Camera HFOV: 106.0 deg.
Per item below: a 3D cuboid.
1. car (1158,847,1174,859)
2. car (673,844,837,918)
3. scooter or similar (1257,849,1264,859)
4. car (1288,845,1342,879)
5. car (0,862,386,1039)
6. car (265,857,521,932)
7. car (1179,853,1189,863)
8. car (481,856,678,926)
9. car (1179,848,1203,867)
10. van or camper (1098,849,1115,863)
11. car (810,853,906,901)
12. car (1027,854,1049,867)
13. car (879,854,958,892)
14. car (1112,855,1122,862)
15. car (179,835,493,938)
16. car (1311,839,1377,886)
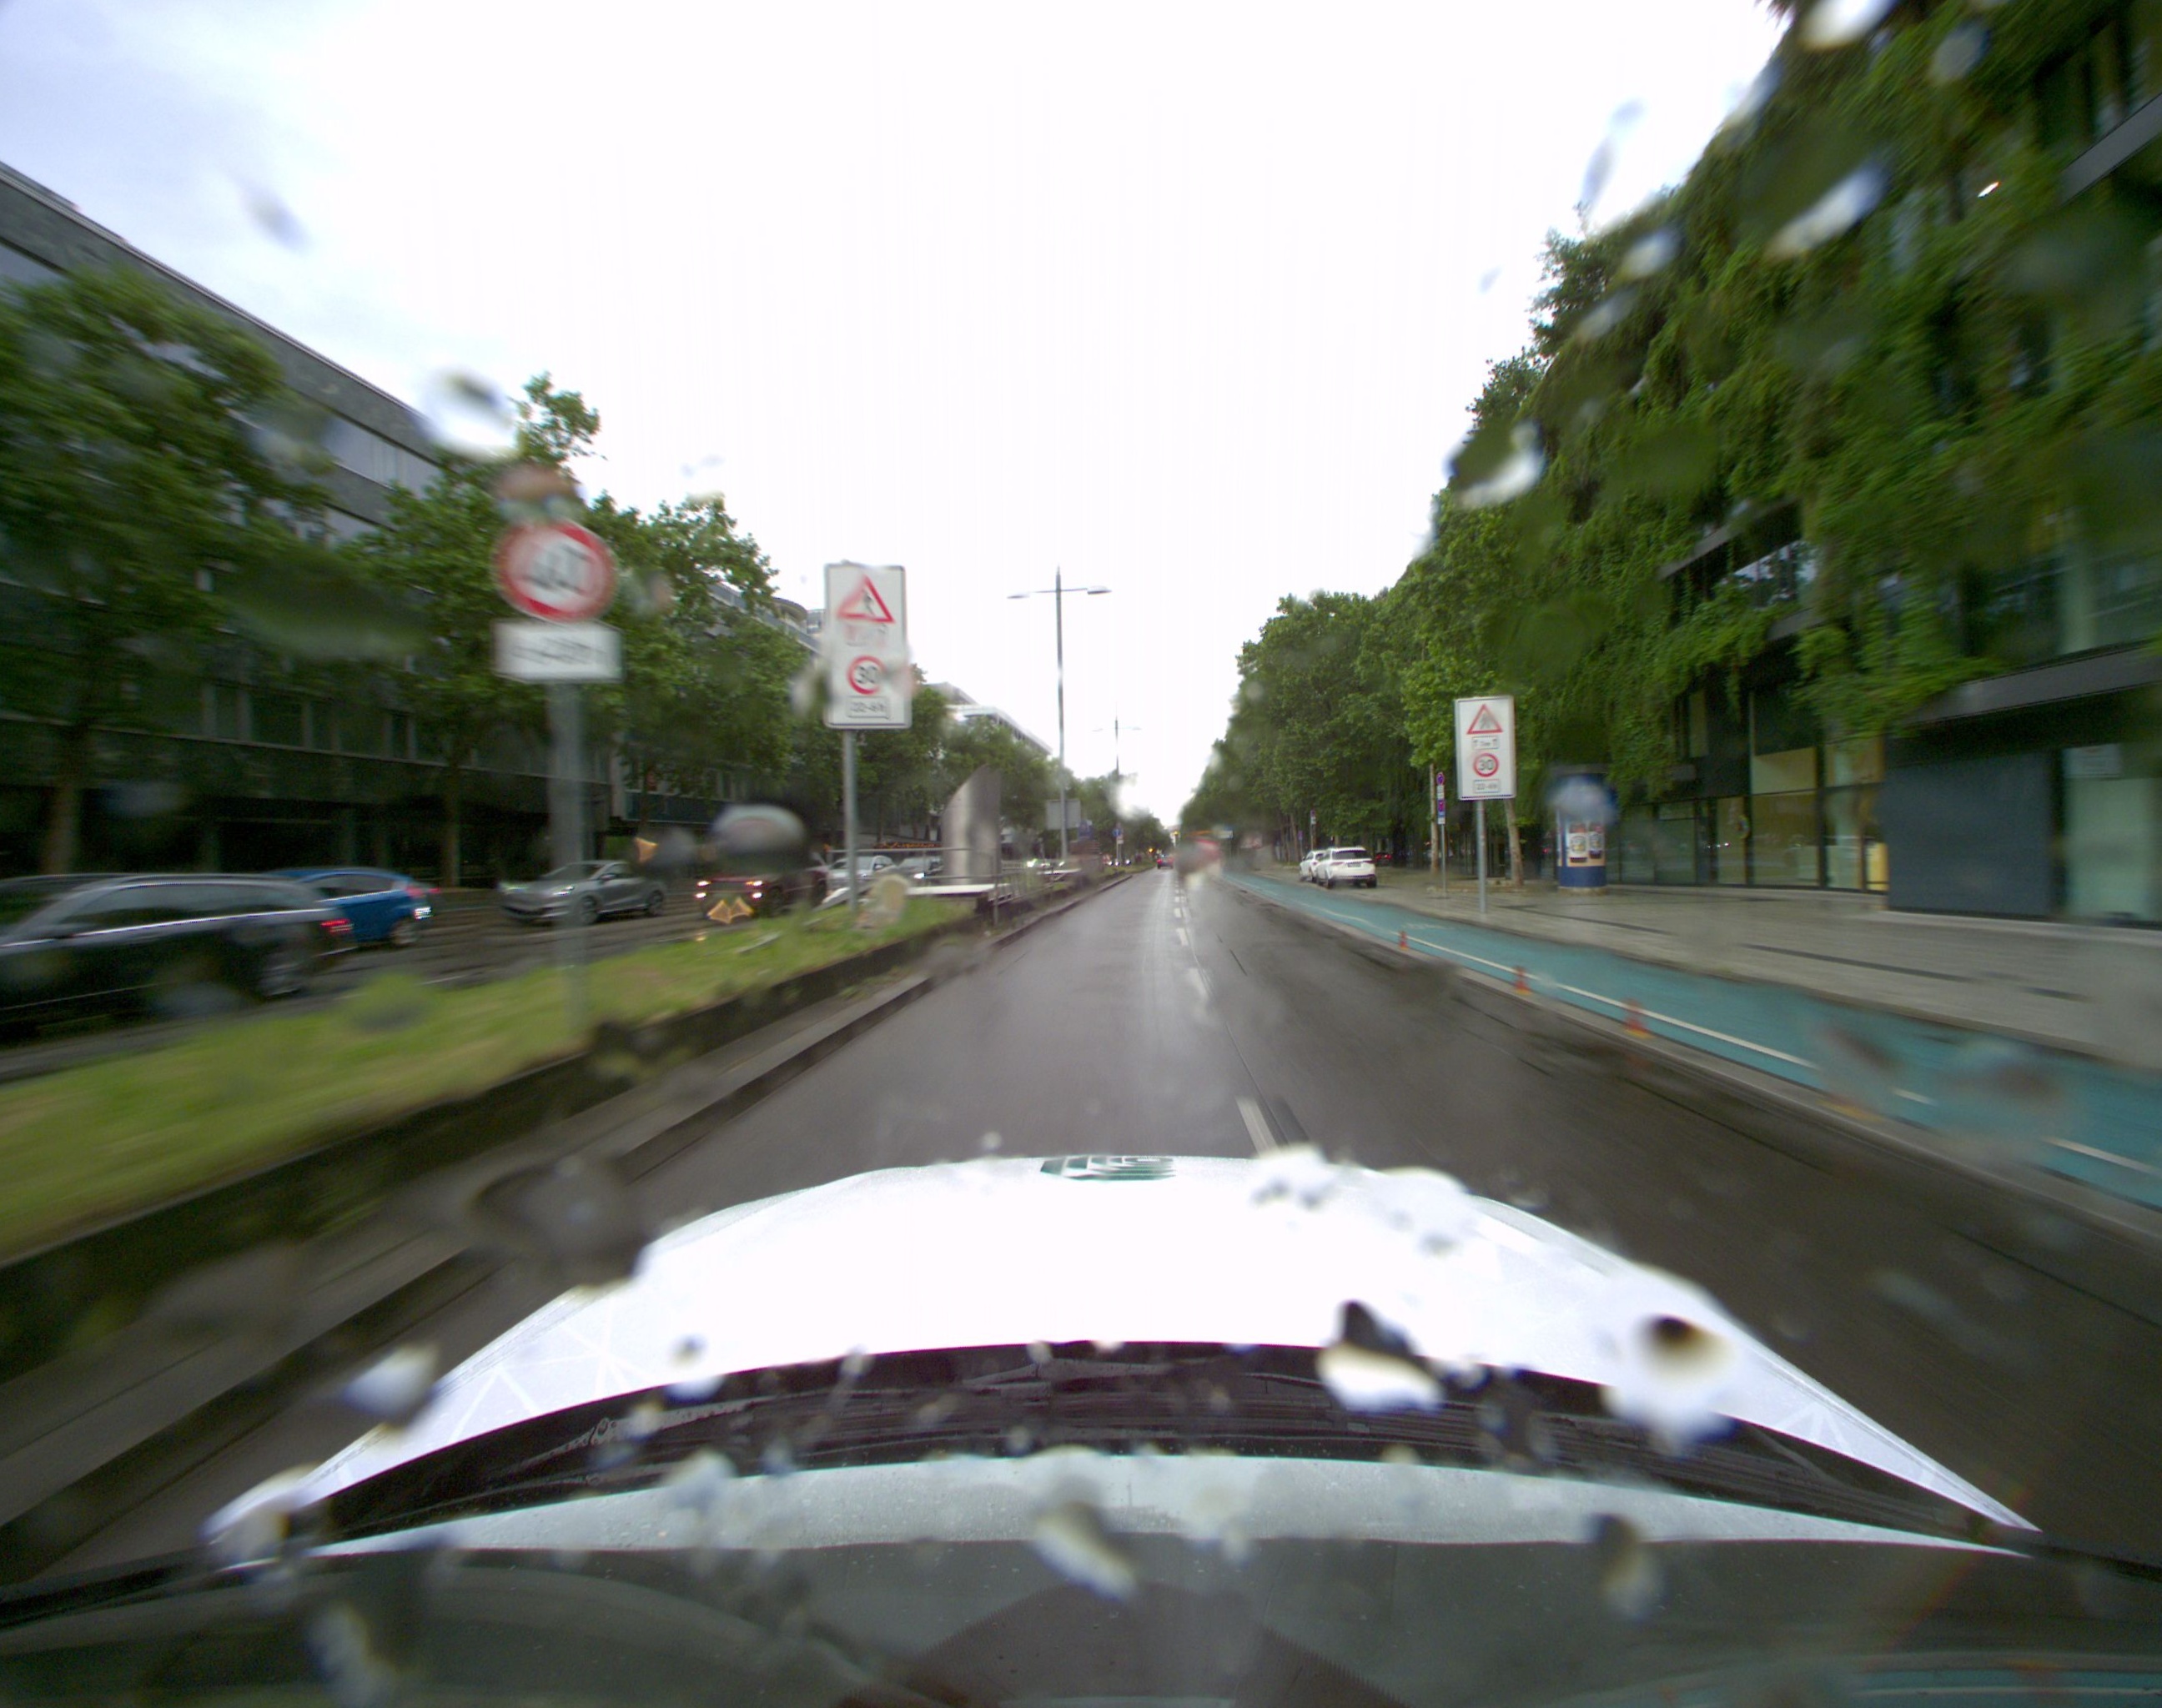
[{"bbox_3d":[10.289,-0.139,98.843,1.909,1.491,4.007,-1,0,6],"label":"car"},{"bbox_3d":[-8.676,0.635,22.304,1.825,1.766,5.121,-1,1,8],"label":"car"},{"bbox_3d":[22.710,-0.014,102.825,0.377,1.228,1.086,-1,0,42],"label":"scooter or similar"},{"bbox_3d":[11.925,0.364,41.712,1.834,1.632,4.795,-1,1,6],"label":"car"},{"bbox_3d":[-10.112,0.865,8.135,1.835,1.450,4.923,-1,1,5],"label":"car"},{"bbox_3d":[-15.835,0.857,19.152,1.882,1.446,4.593,-1,1,4],"label":"car"},{"bbox_3d":[17.546,0.712,138.553,1.612,1.666,4.007,-1,0,6],"label":"car"},{"bbox_3d":[-12.349,0.831,20.493,1.710,1.491,4.578,-1,1,6],"label":"car"},{"bbox_3d":[10.079,0.314,74.726,1.983,1.655,4.897,-1,1,6],"label":"car"},{"bbox_3d":[3.689,0.316,116.514,1.983,1.913,5.260,-1,1,6],"label":"van or camper"},{"bbox_3d":[-8.130,0.780,30.208,1.726,1.573,4.841,-1,1,7],"label":"car"},{"bbox_3d":[-5.067,0.755,96.734,1.958,1.409,4.961,-1,1,3],"label":"car"},{"bbox_3d":[-7.285,0.816,37.015,1.902,1.552,4.555,-1,1,10],"label":"car"},{"bbox_3d":[7.729,0.930,174.624,1.834,1.429,3.650,-1,0,6],"label":"car"},{"bbox_3d":[-12.878,0.490,14.482,1.745,1.565,4.004,-1,0,3],"label":"car"},{"bbox_3d":[11.395,0.299,35.635,1.833,1.838,5.106,-2,0,8],"label":"car"}]
